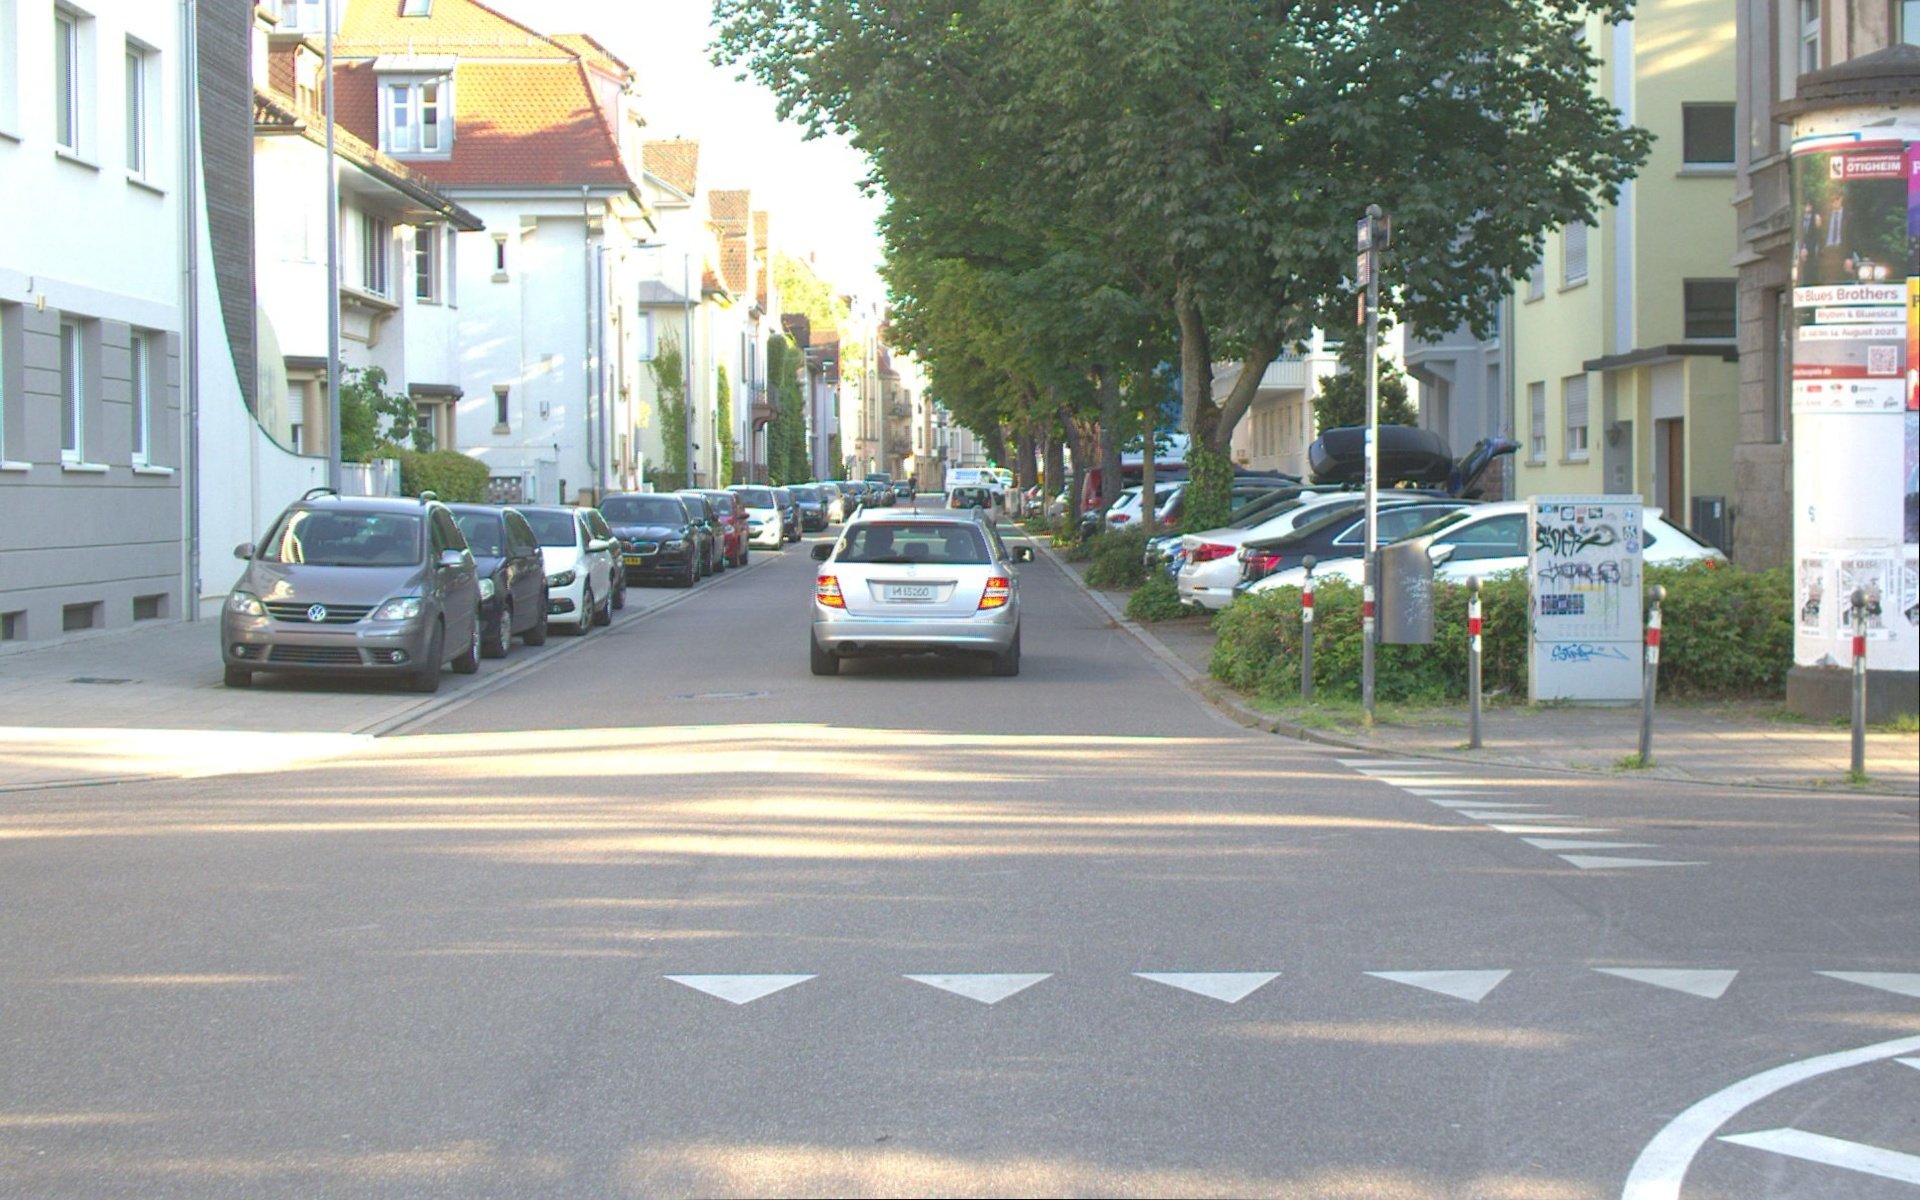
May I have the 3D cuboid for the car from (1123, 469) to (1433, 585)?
[{"bbox_3d":[4.475,-1.046,48.779,4.190,1.553,1.874,-1,2,-1],"label":"car"}]

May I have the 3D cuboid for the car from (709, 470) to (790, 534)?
[{"bbox_3d":[-5.006,-2.353,82.180,1.659,1.494,3.754,0,2,1],"label":"car"}]

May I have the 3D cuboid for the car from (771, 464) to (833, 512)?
[{"bbox_3d":[-5.023,-3.605,109.887,1.799,1.477,3.857,0,3,0],"label":"car"}]

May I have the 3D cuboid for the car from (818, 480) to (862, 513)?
[{"bbox_3d":[-5.216,-4.522,149.742,1.799,1.382,3.607,0,3,0],"label":"car"}]

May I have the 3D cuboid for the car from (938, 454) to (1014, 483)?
[{"bbox_3d":[0.861,-7.055,184.182,1.530,1.469,4.268,-1,1,-44],"label":"car"}]

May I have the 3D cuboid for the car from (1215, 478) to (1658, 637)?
[{"bbox_3d":[4.700,-0.442,34.296,4.142,1.443,1.673,-2,2,-1],"label":"car"}]

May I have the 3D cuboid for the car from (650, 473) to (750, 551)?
[{"bbox_3d":[-5.084,-1.740,67.581,1.659,1.483,3.754,0,2,1],"label":"car"}]

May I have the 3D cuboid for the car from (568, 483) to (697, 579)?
[{"bbox_3d":[-5.269,-1.140,55.702,1.854,1.492,4.656,0,2,-3],"label":"car"}]

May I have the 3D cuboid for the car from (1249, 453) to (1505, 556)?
[{"bbox_3d":[6.662,-1.541,55.168,3.925,1.552,1.725,-1,3,2],"label":"car"}]

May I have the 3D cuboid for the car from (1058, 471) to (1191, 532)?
[{"bbox_3d":[4.618,-2.790,96.843,3.594,1.654,1.650,-1,2,-2],"label":"car"}]

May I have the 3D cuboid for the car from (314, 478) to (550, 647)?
[{"bbox_3d":[-5.237,-0.429,34.573,1.884,1.585,4.091,0,2,-2],"label":"car"}]

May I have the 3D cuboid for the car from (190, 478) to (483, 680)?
[{"bbox_3d":[-5.197,-0.238,29.149,1.884,1.585,4.091,0,2,-2],"label":"car"}]

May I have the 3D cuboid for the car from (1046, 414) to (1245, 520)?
[{"bbox_3d":[5.358,-3.866,99.722,5.541,2.958,2.472,-1,2,-2],"label":"car"}]

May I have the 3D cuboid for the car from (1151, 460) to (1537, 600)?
[{"bbox_3d":[4.702,-0.880,42.544,4.526,1.635,1.874,-1,2,-1],"label":"car"}]

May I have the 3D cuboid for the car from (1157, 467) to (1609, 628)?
[{"bbox_3d":[4.500,-0.589,36.952,4.476,1.520,1.955,-2,3,-5],"label":"car"}]

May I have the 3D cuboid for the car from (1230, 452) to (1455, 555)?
[{"bbox_3d":[6.365,-1.624,57.454,3.547,1.648,1.725,-1,2,-1],"label":"car"}]

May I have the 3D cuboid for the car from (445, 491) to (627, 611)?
[{"bbox_3d":[-5.330,-0.661,43.618,1.758,1.442,4.142,0,2,1],"label":"car"}]

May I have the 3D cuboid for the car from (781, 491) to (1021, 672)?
[{"bbox_3d":[-0.444,-0.203,30.113,1.817,1.468,4.216,0,1,3],"label":"car"}]

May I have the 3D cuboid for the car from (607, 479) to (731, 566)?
[{"bbox_3d":[-5.187,-1.416,61.770,1.783,1.492,4.700,0,2,1],"label":"car"}]

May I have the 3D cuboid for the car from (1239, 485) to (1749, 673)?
[{"bbox_3d":[4.511,-0.203,29.471,4.048,1.500,1.862,-1,2,-1],"label":"car"}]

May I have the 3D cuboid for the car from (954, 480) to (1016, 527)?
[{"bbox_3d":[0.829,-3.092,110.644,1.817,1.468,4.216,0,1,3],"label":"car"}]

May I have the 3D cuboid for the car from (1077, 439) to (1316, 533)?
[{"bbox_3d":[4.684,-2.291,68.675,4.625,1.830,1.954,0,2,0],"label":"car"}]

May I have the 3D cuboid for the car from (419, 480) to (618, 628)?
[{"bbox_3d":[-4.965,-0.568,39.175,1.884,1.585,4.091,0,2,-2],"label":"car"}]

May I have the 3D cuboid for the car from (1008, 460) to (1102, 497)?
[{"bbox_3d":[3.947,-5.058,142.640,3.844,1.477,1.805,0,2,1],"label":"car"}]

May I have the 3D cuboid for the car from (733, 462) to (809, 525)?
[{"bbox_3d":[-5.010,-2.859,91.607,1.799,1.638,3.857,0,3,0],"label":"car"}]

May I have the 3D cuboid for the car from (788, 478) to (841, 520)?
[{"bbox_3d":[-5.322,-3.720,126.206,1.799,1.477,3.857,0,3,0],"label":"car"}]

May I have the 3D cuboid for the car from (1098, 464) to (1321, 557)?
[{"bbox_3d":[4.340,-1.571,60.130,3.730,1.553,1.725,-1,2,-1],"label":"car"}]
